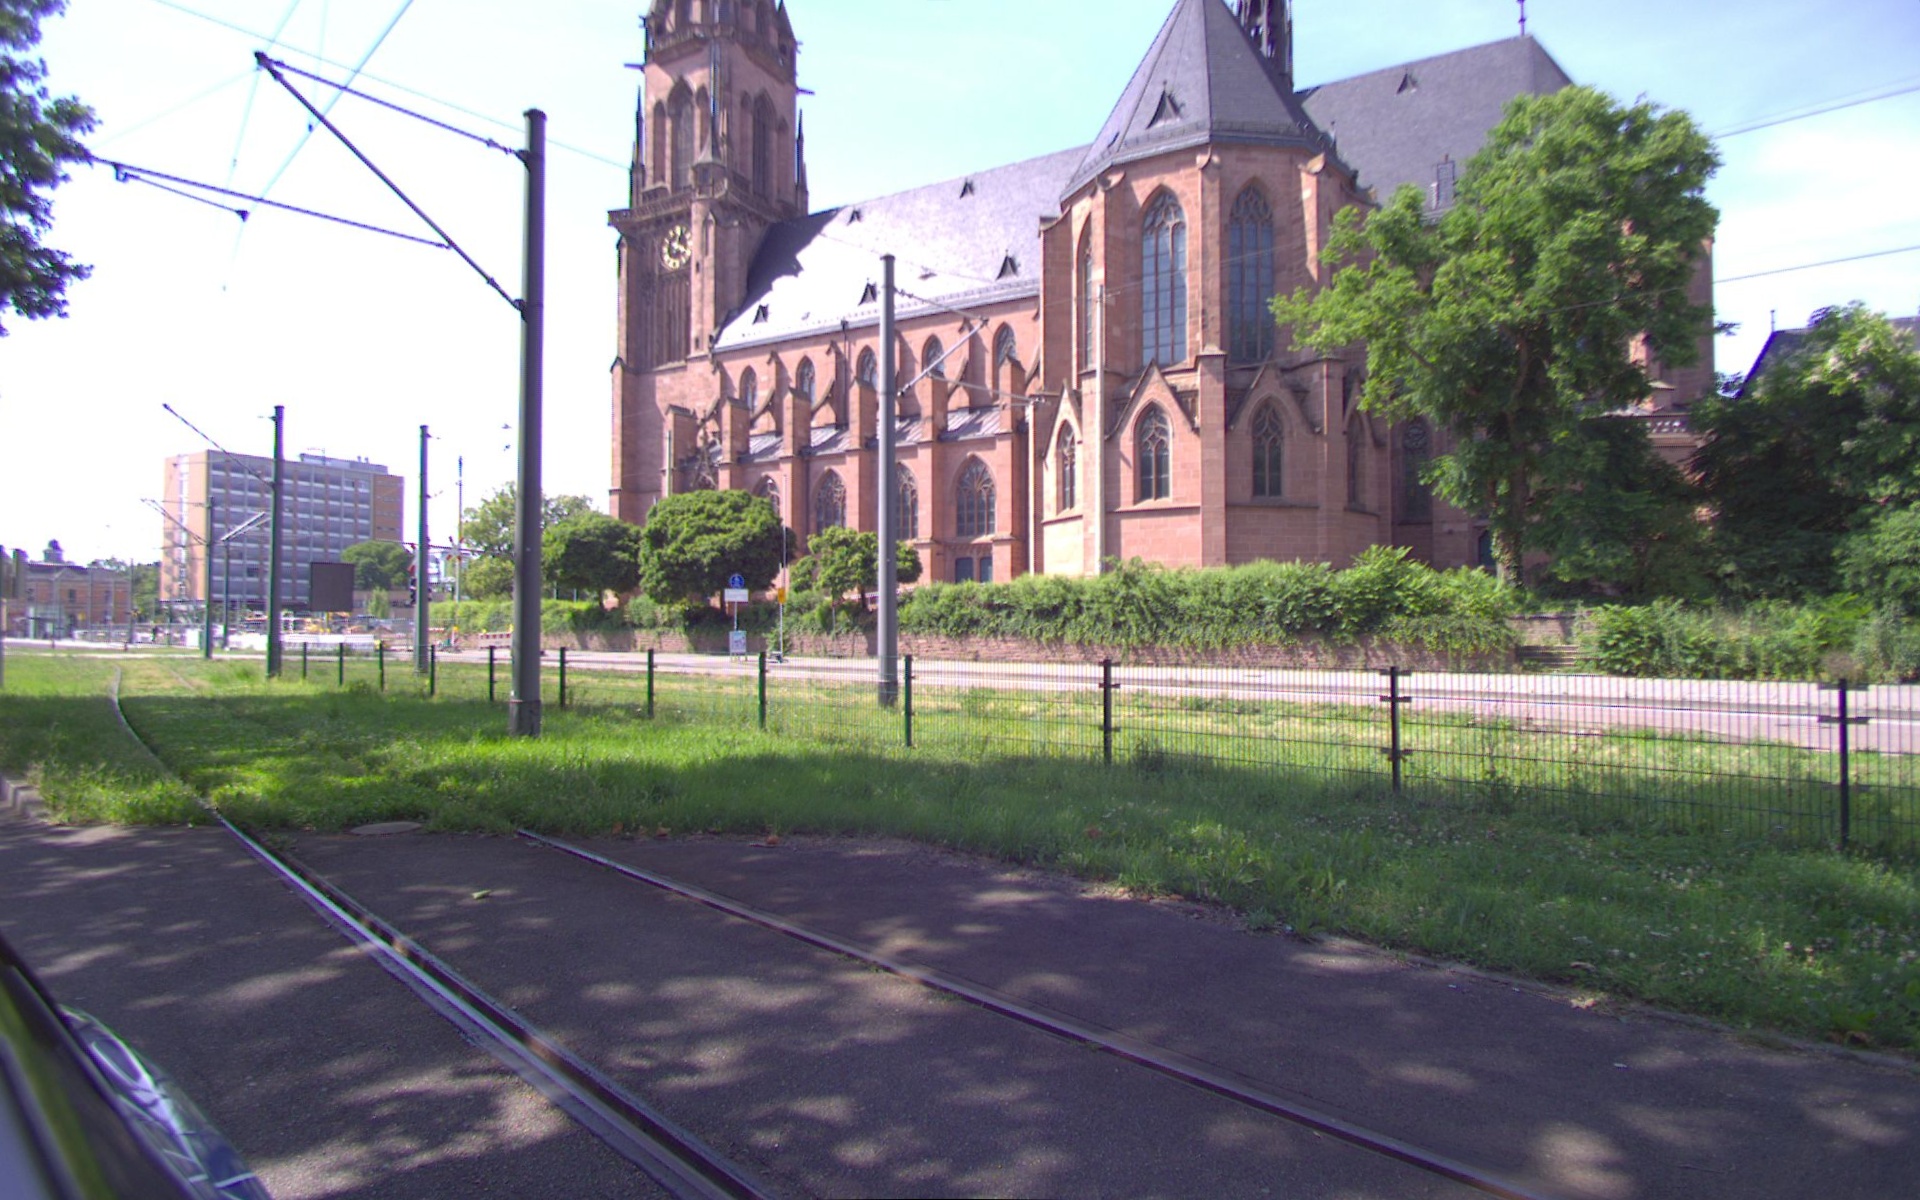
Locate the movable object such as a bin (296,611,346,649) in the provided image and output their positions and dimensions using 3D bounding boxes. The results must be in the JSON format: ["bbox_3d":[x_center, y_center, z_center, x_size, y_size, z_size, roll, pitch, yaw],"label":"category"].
[{"bbox_3d":[-66.253,3.130,104.972,2.904,3.911,3.327,0,-2,8],"label":"movable object such as a bin"}]
